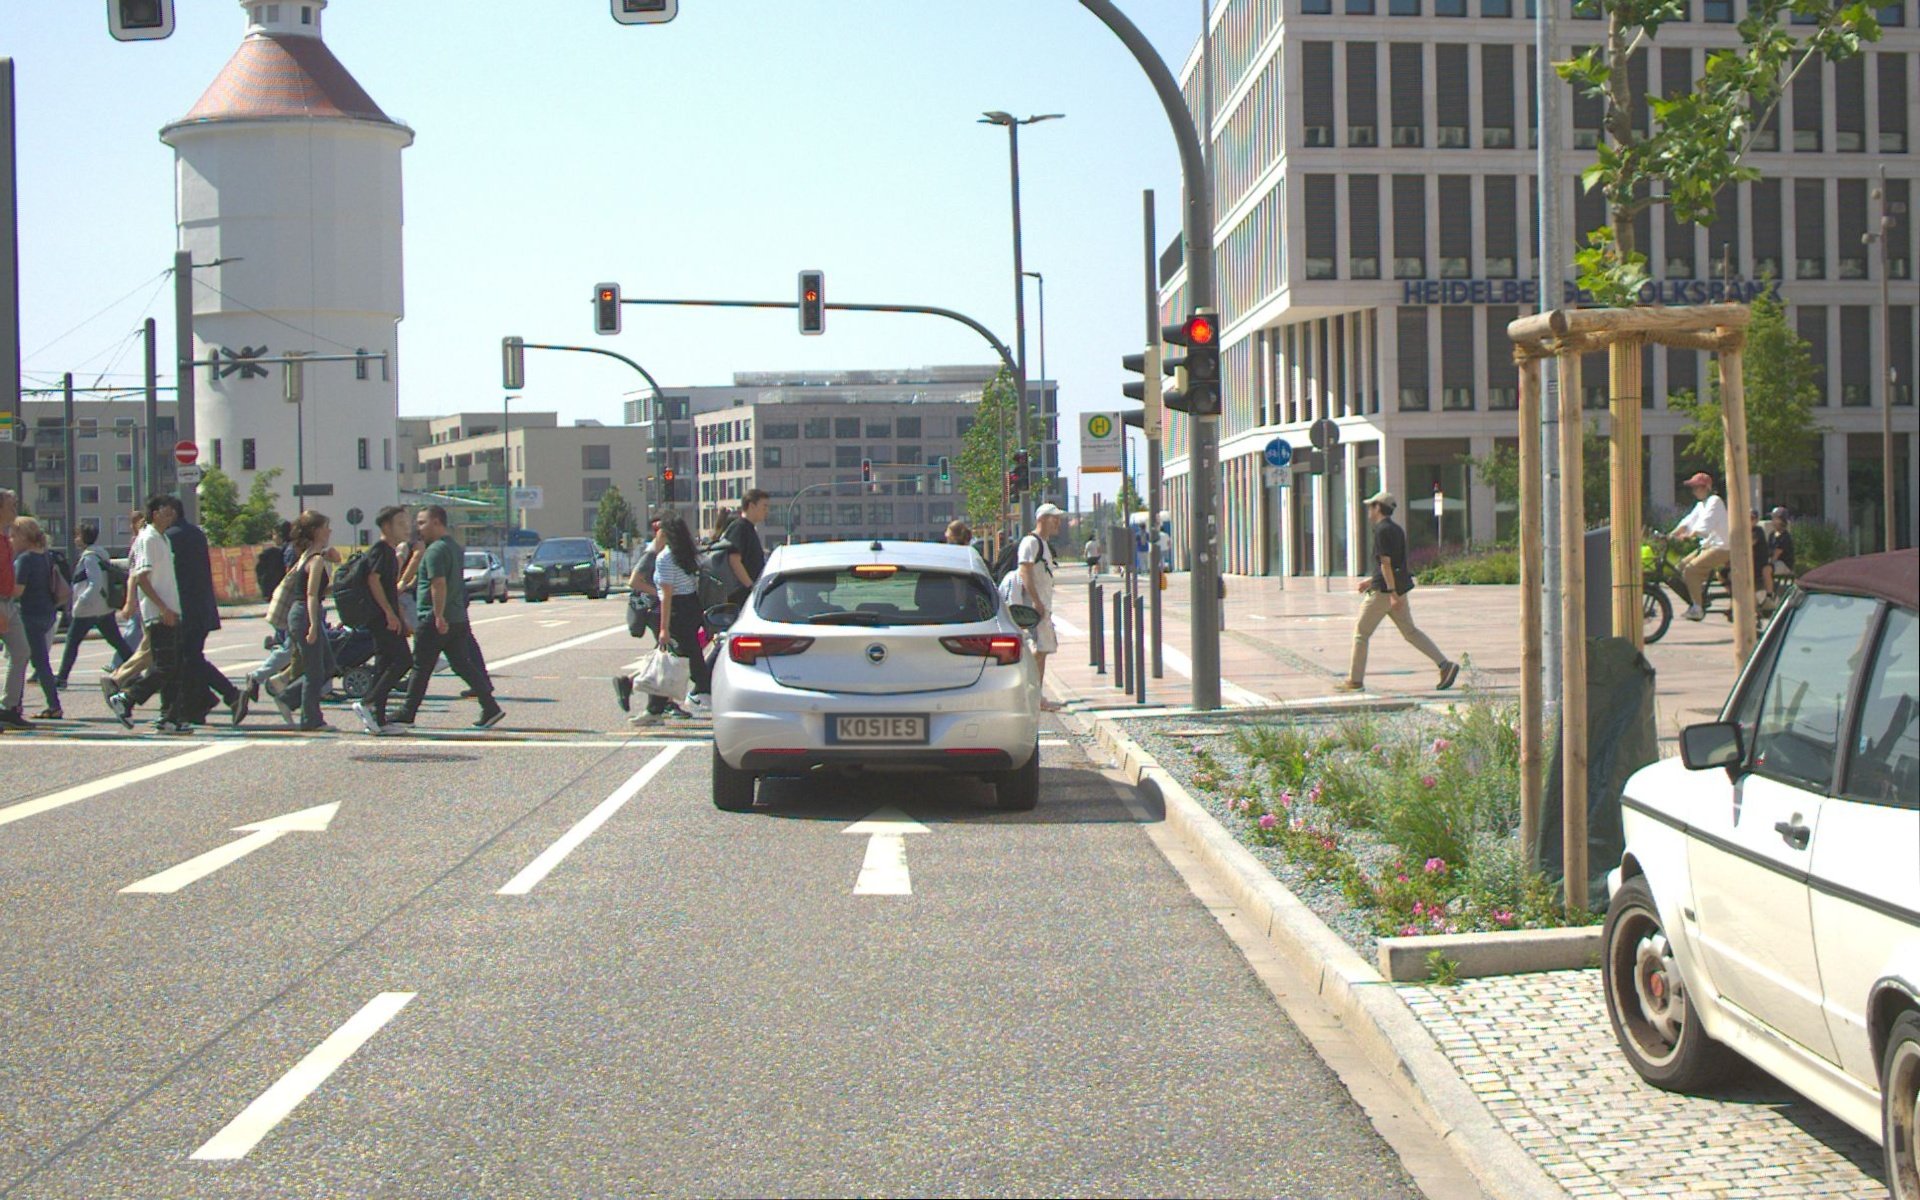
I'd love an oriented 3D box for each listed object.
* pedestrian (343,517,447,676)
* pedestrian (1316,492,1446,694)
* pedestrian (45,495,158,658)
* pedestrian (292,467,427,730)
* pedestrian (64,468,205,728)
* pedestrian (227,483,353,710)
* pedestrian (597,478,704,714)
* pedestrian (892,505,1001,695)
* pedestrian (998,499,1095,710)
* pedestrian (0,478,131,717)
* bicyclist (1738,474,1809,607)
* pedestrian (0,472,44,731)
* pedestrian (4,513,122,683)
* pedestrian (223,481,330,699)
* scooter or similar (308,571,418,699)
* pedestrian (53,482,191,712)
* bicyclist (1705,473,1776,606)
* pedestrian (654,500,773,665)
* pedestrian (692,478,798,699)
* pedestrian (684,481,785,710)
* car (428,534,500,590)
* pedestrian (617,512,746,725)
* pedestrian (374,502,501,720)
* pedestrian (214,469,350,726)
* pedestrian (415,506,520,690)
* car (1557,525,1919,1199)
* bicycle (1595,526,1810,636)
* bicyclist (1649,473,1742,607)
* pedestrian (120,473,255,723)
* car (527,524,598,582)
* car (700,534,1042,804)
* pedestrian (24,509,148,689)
[{"bbox_3d":[-5.976,-0.045,36.396,0.888,1.641,0.796,-1,1,4],"label":"pedestrian"},{"bbox_3d":[3.519,-0.065,28.817,0.990,1.649,0.692,-1,1,1],"label":"pedestrian"},{"bbox_3d":[-8.846,-0.248,35.449,0.888,1.641,0.796,-1,1,4],"label":"pedestrian"},{"bbox_3d":[-4.390,-0.021,25.177,0.887,1.884,0.692,-1,1,-5],"label":"pedestrian"},{"bbox_3d":[-6.111,-0.020,25.487,0.887,1.884,0.692,-1,1,-5],"label":"pedestrian"},{"bbox_3d":[-5.689,-0.038,29.226,0.888,1.884,0.796,-1,1,0],"label":"pedestrian"},{"bbox_3d":[-2.508,-0.039,27.941,0.766,1.884,0.692,-1,1,1],"label":"pedestrian"},{"bbox_3d":[-0.114,-0.006,30.409,0.888,1.641,0.796,-1,1,4],"label":"pedestrian"},{"bbox_3d":[0.719,0.032,28.722,0.766,1.728,0.692,-1,1,1],"label":"pedestrian"},{"bbox_3d":[-7.305,-0.027,27.695,0.889,1.884,0.795,0,1,36],"label":"pedestrian"},{"bbox_3d":[8.449,-0.622,35.742,0.358,1.355,0.902,-1,1,-11],"label":"bicyclist"},{"bbox_3d":[-7.307,0.010,25.414,0.887,1.884,0.692,-1,1,-5],"label":"pedestrian"},{"bbox_3d":[-8.819,-0.027,33.826,0.888,1.641,0.796,-1,1,4],"label":"pedestrian"},{"bbox_3d":[-5.987,-0.093,30.134,0.734,1.884,0.713,1,1,4],"label":"pedestrian"},{"bbox_3d":[-5.415,0.312,31.188,0.950,1.114,0.767,-1,1,-10],"label":"scooter or similar"},{"bbox_3d":[-7.020,-0.033,28.830,0.888,1.884,0.796,-1,1,4],"label":"pedestrian"},{"bbox_3d":[8.091,-0.624,35.667,0.358,1.355,0.914,-1,1,-11],"label":"bicyclist"},{"bbox_3d":[-2.768,-0.210,38.731,1.181,1.814,1.068,-1,1,4],"label":"pedestrian"},{"bbox_3d":[-1.864,-0.107,29.924,0.841,1.884,0.692,-1,1,1],"label":"pedestrian"},{"bbox_3d":[-1.888,-0.042,28.869,0.766,1.884,0.692,-1,1,1],"label":"pedestrian"},{"bbox_3d":[-13.685,-1.037,94.977,1.586,1.525,3.258,0,0,-2],"label":"car"},{"bbox_3d":[-2.151,0.136,26.577,0.767,1.614,0.691,-1,1,16],"label":"pedestrian"},{"bbox_3d":[-3.988,0.076,26.291,0.887,1.629,0.692,-1,1,-5],"label":"pedestrian"},{"bbox_3d":[-5.088,-0.027,25.844,0.887,1.884,0.796,-1,1,-5],"label":"pedestrian"},{"bbox_3d":[-4.491,-0.027,31.327,0.887,1.641,0.796,-1,1,-10],"label":"pedestrian"},{"bbox_3d":[2.444,0.550,7.540,1.429,1.385,4.000,-5,1,-1],"label":"car"},{"bbox_3d":[7.679,-0.203,35.588,1.961,1.080,0.905,-1,1,-12],"label":"bicycle"},{"bbox_3d":[7.603,-0.621,35.564,0.615,1.355,0.901,-1,1,-12],"label":"bicyclist"},{"bbox_3d":[-5.954,-0.026,26.535,0.887,1.884,0.796,-1,1,-5],"label":"pedestrian"},{"bbox_3d":[-10.712,-1.244,92.778,1.586,1.525,3.693,0,0,-2],"label":"car"},{"bbox_3d":[-0.423,0.359,19.680,1.771,1.390,3.531,1,0,1],"label":"car"},{"bbox_3d":[-8.139,-0.021,32.035,0.888,1.641,0.796,-1,1,4],"label":"pedestrian"}]
